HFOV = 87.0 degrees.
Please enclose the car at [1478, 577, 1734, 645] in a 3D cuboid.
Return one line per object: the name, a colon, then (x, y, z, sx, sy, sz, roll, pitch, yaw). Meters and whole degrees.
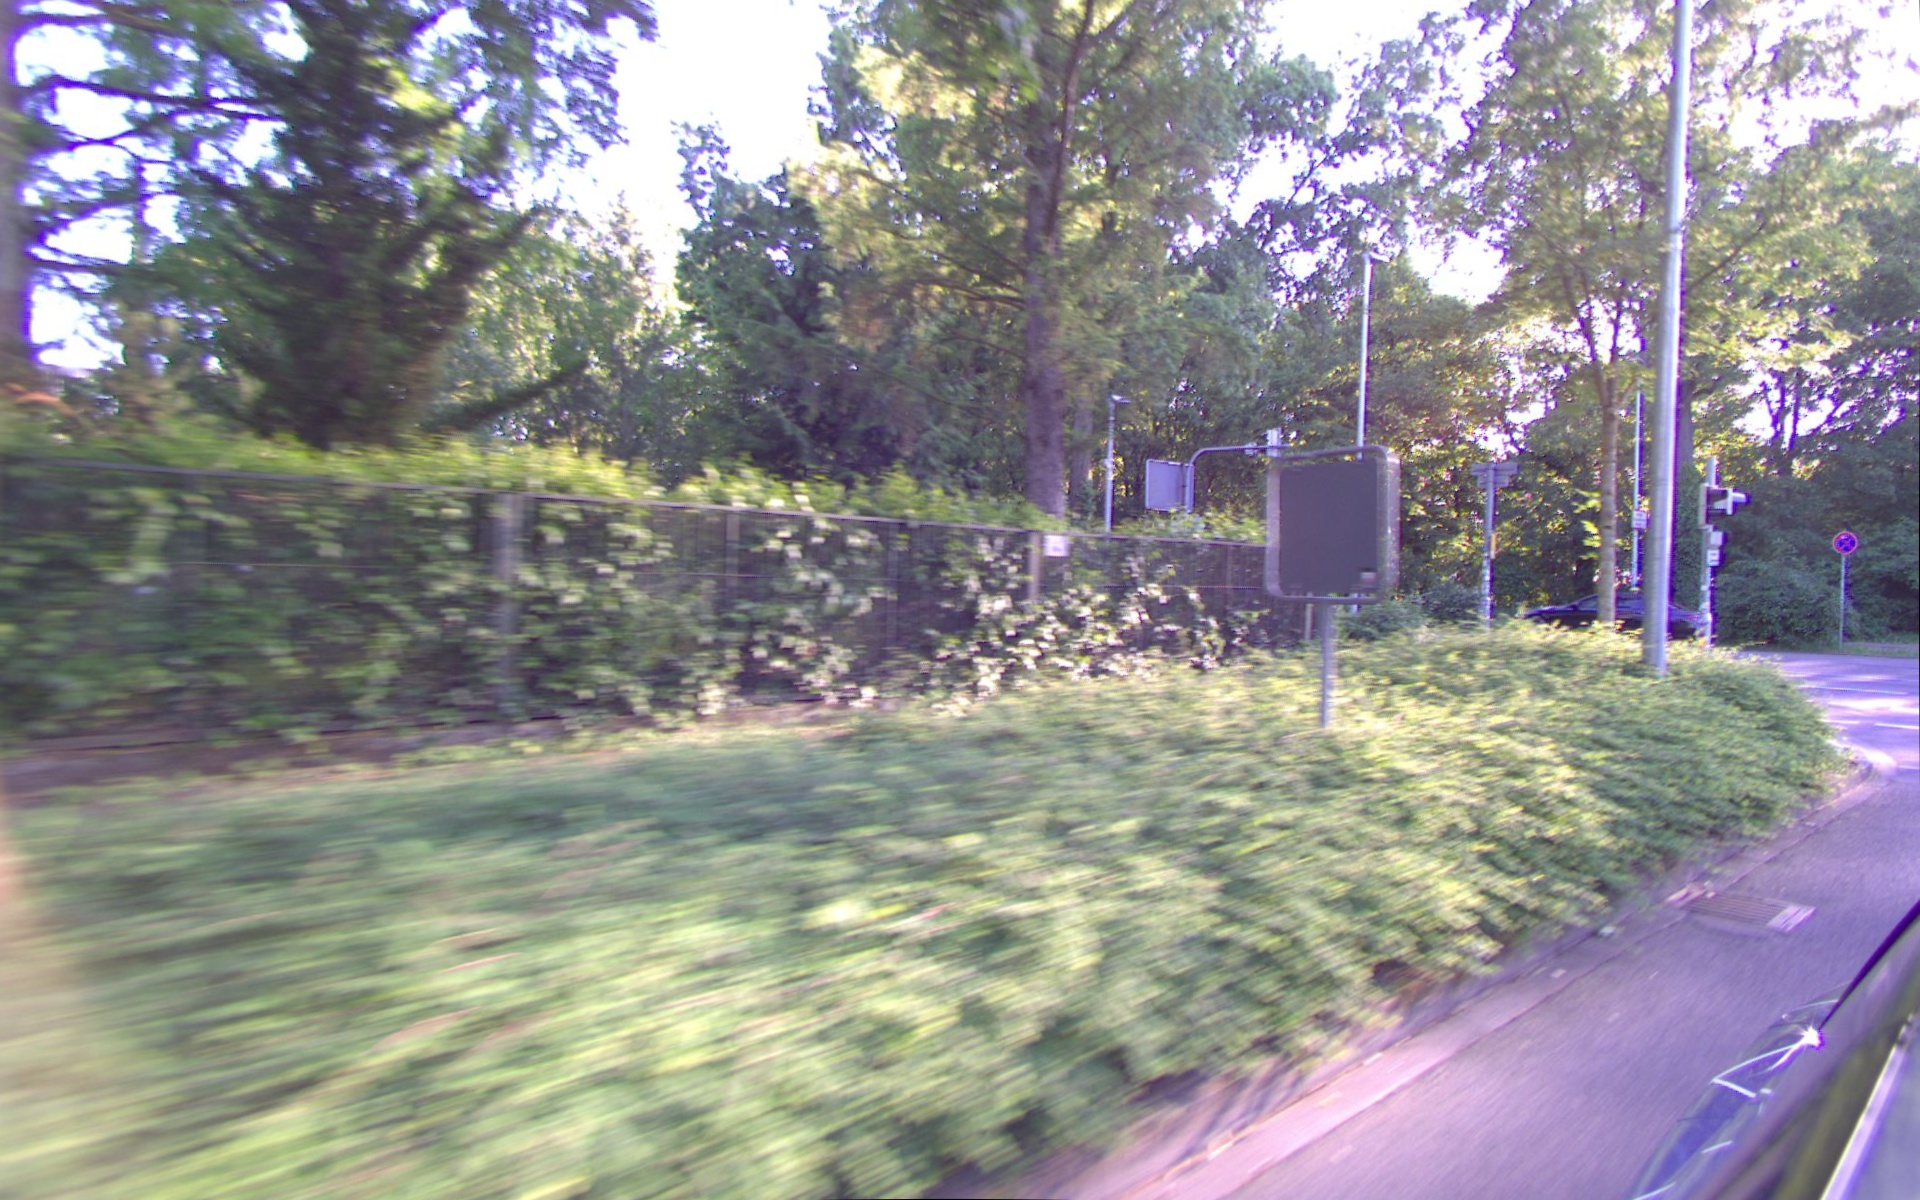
car: (18.310, 0.222, 28.979, 1.967, 1.655, 5.873, 0, 2, -44)
